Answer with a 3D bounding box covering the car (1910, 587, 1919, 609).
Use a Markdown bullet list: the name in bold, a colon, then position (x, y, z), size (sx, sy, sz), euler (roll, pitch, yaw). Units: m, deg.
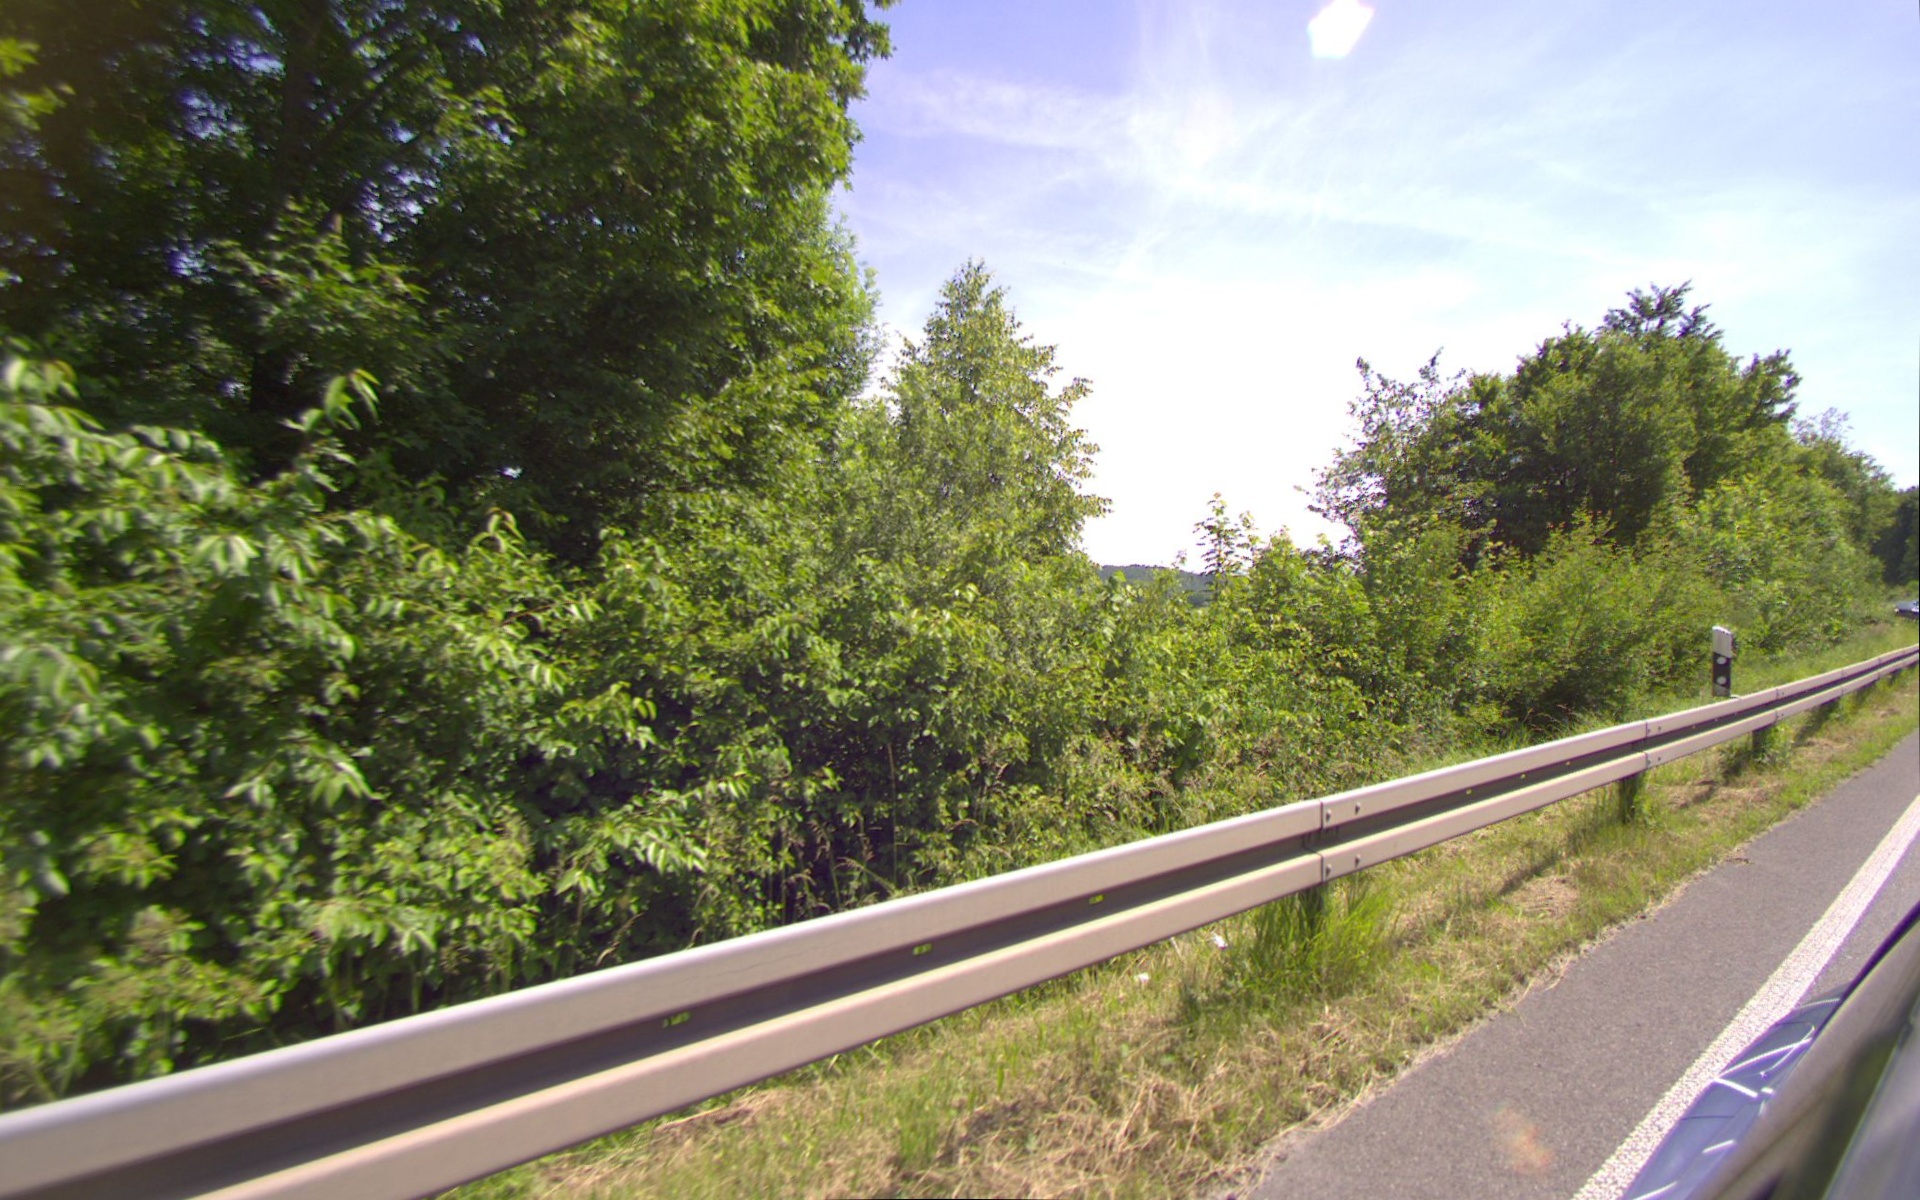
- **car**: position (91.611, -0.252, 96.043), size (1.992, 2.039, 3.938), euler (-1, 0, 43)
